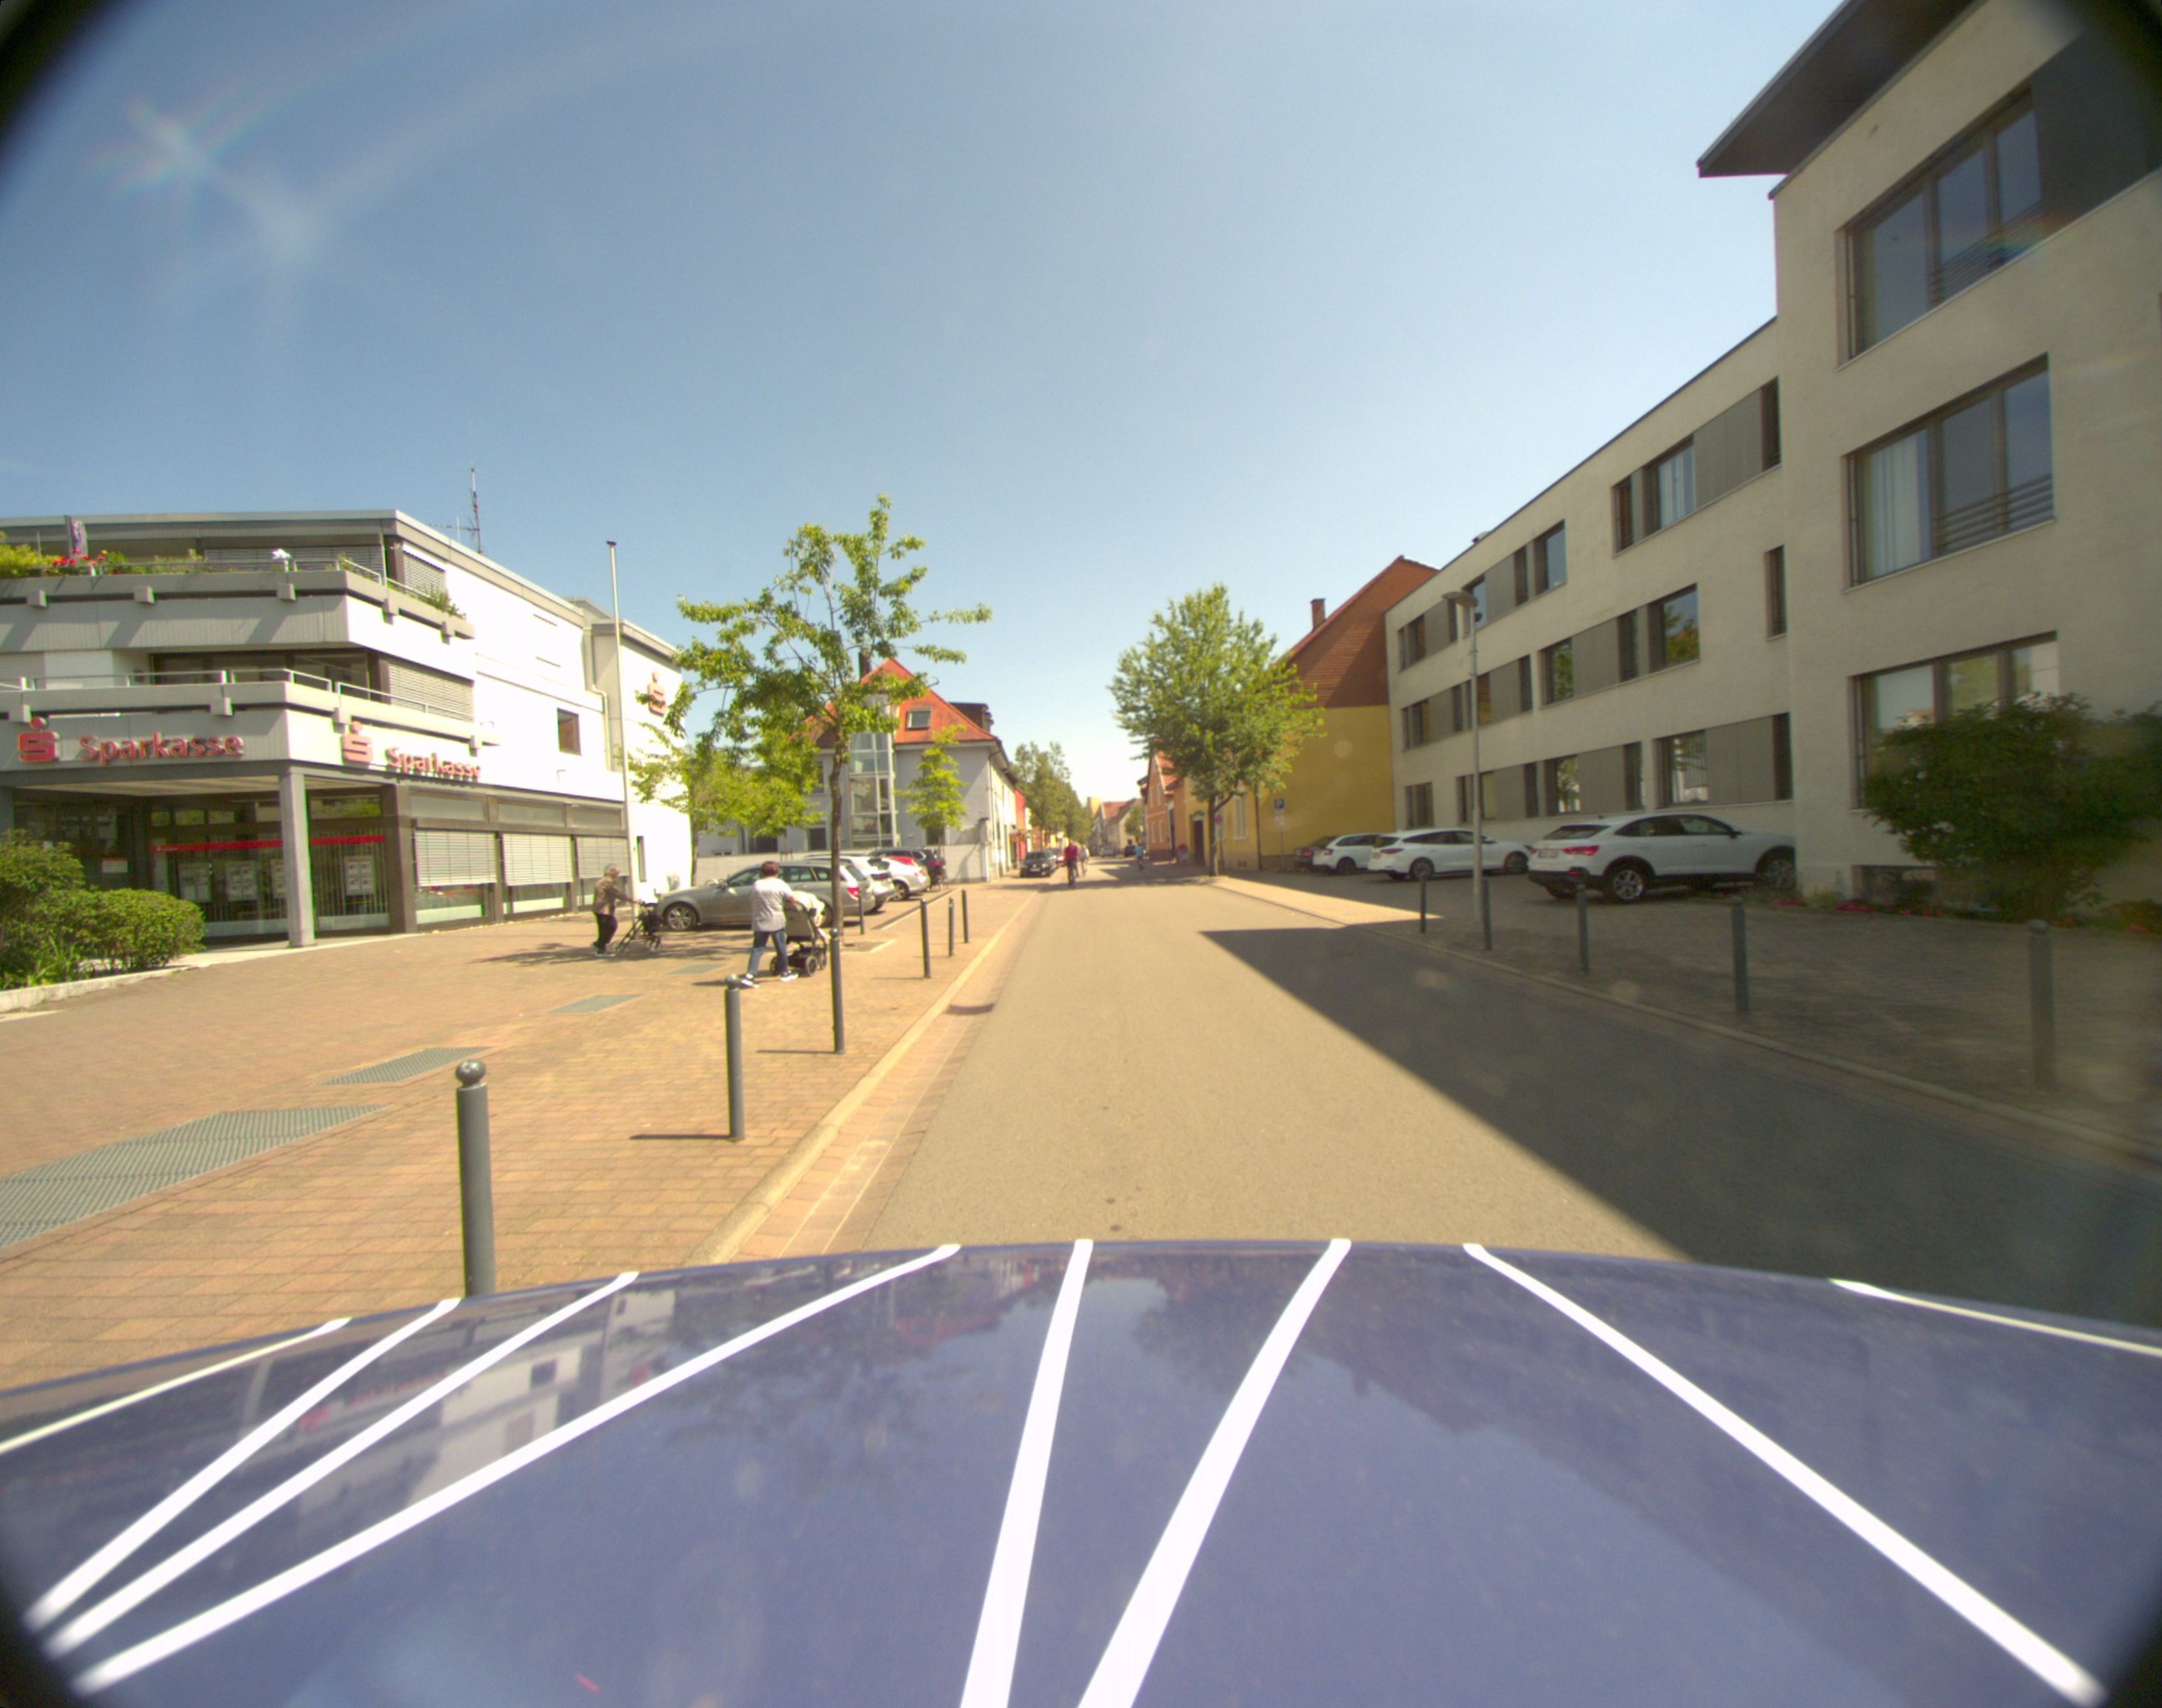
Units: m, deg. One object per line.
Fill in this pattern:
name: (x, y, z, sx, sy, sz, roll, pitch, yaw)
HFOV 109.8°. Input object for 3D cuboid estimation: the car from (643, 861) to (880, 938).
car: (-6.863, 0.949, 16.729, 4.446, 1.457, 1.689, -1, 2, -6)

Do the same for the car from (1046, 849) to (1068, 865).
car: (-1.977, 0.228, 61.922, 1.530, 1.298, 3.248, -1, 1, -6)

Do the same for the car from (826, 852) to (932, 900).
car: (-7.223, 0.780, 27.412, 3.431, 1.543, 1.490, -2, 1, -5)

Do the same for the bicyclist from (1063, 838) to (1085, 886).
bicyclist: (-0.265, 0.290, 28.276, 0.703, 1.707, 0.759, -4, 2, -3)

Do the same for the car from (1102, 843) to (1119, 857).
car: (3.763, -0.544, 97.356, 1.999, 1.696, 3.999, -2, 1, -1)

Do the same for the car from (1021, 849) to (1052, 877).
car: (-2.516, 0.462, 42.559, 1.530, 1.444, 3.519, -2, 1, -5)

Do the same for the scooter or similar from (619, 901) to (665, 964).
scooter or similar: (-7.228, 1.280, 12.529, 0.547, 0.940, 0.535, -3, 1, -22)

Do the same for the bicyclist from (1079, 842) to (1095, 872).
bicyclist: (0.330, 0.147, 41.269, 0.703, 1.573, 0.878, -4, 2, -3)

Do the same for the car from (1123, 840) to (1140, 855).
car: (6.590, -0.851, 99.784, 1.826, 1.805, 3.999, -2, 1, -1)

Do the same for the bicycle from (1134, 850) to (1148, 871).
bicycle: (3.475, 0.355, 44.269, 0.595, 1.183, 1.724, -3, 1, -2)

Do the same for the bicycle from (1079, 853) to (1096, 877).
bicycle: (0.351, 0.585, 41.393, 0.690, 1.183, 1.798, -4, 1, -3)

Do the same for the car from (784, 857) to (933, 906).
car: (-7.172, 0.864, 24.878, 4.446, 1.434, 1.655, -1, 1, -8)

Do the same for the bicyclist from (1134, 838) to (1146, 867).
bicyclist: (3.438, -0.095, 44.351, 0.538, 1.630, 0.551, -2, 1, -2)

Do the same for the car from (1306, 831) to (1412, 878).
car: (9.924, 0.001, 27.281, 3.139, 1.442, 1.642, -4, 1, 1)

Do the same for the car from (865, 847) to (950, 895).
car: (-6.709, 0.642, 29.553, 3.041, 1.727, 1.344, -1, 1, -5)

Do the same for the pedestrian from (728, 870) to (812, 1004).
pedestrian: (-3.763, 0.971, 9.265, 0.512, 1.507, 1.048, -1, 1, 2)

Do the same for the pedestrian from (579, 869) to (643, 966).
pedestrian: (-7.634, 1.008, 12.372, 0.725, 1.492, 0.531, -3, 1, -20)

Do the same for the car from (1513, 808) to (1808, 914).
car: (10.391, 0.111, 13.825, 3.997, 1.539, 1.748, -4, 1, -2)

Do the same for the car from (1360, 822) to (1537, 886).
car: (10.595, -0.006, 22.090, 4.324, 1.470, 1.513, -4, 1, 0)

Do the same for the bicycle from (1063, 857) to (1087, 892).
bicycle: (-0.233, 0.753, 28.498, 0.738, 1.183, 1.970, -4, 1, -3)

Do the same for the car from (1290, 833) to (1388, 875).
car: (9.961, -0.011, 29.491, 3.258, 1.393, 1.374, -4, 1, -2)

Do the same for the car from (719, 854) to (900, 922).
car: (-6.870, 0.839, 19.595, 4.047, 1.550, 1.711, -1, 1, -6)

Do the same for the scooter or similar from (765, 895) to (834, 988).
scooter or similar: (-3.712, 1.140, 10.081, 0.505, 1.112, 0.909, -1, 1, 4)
